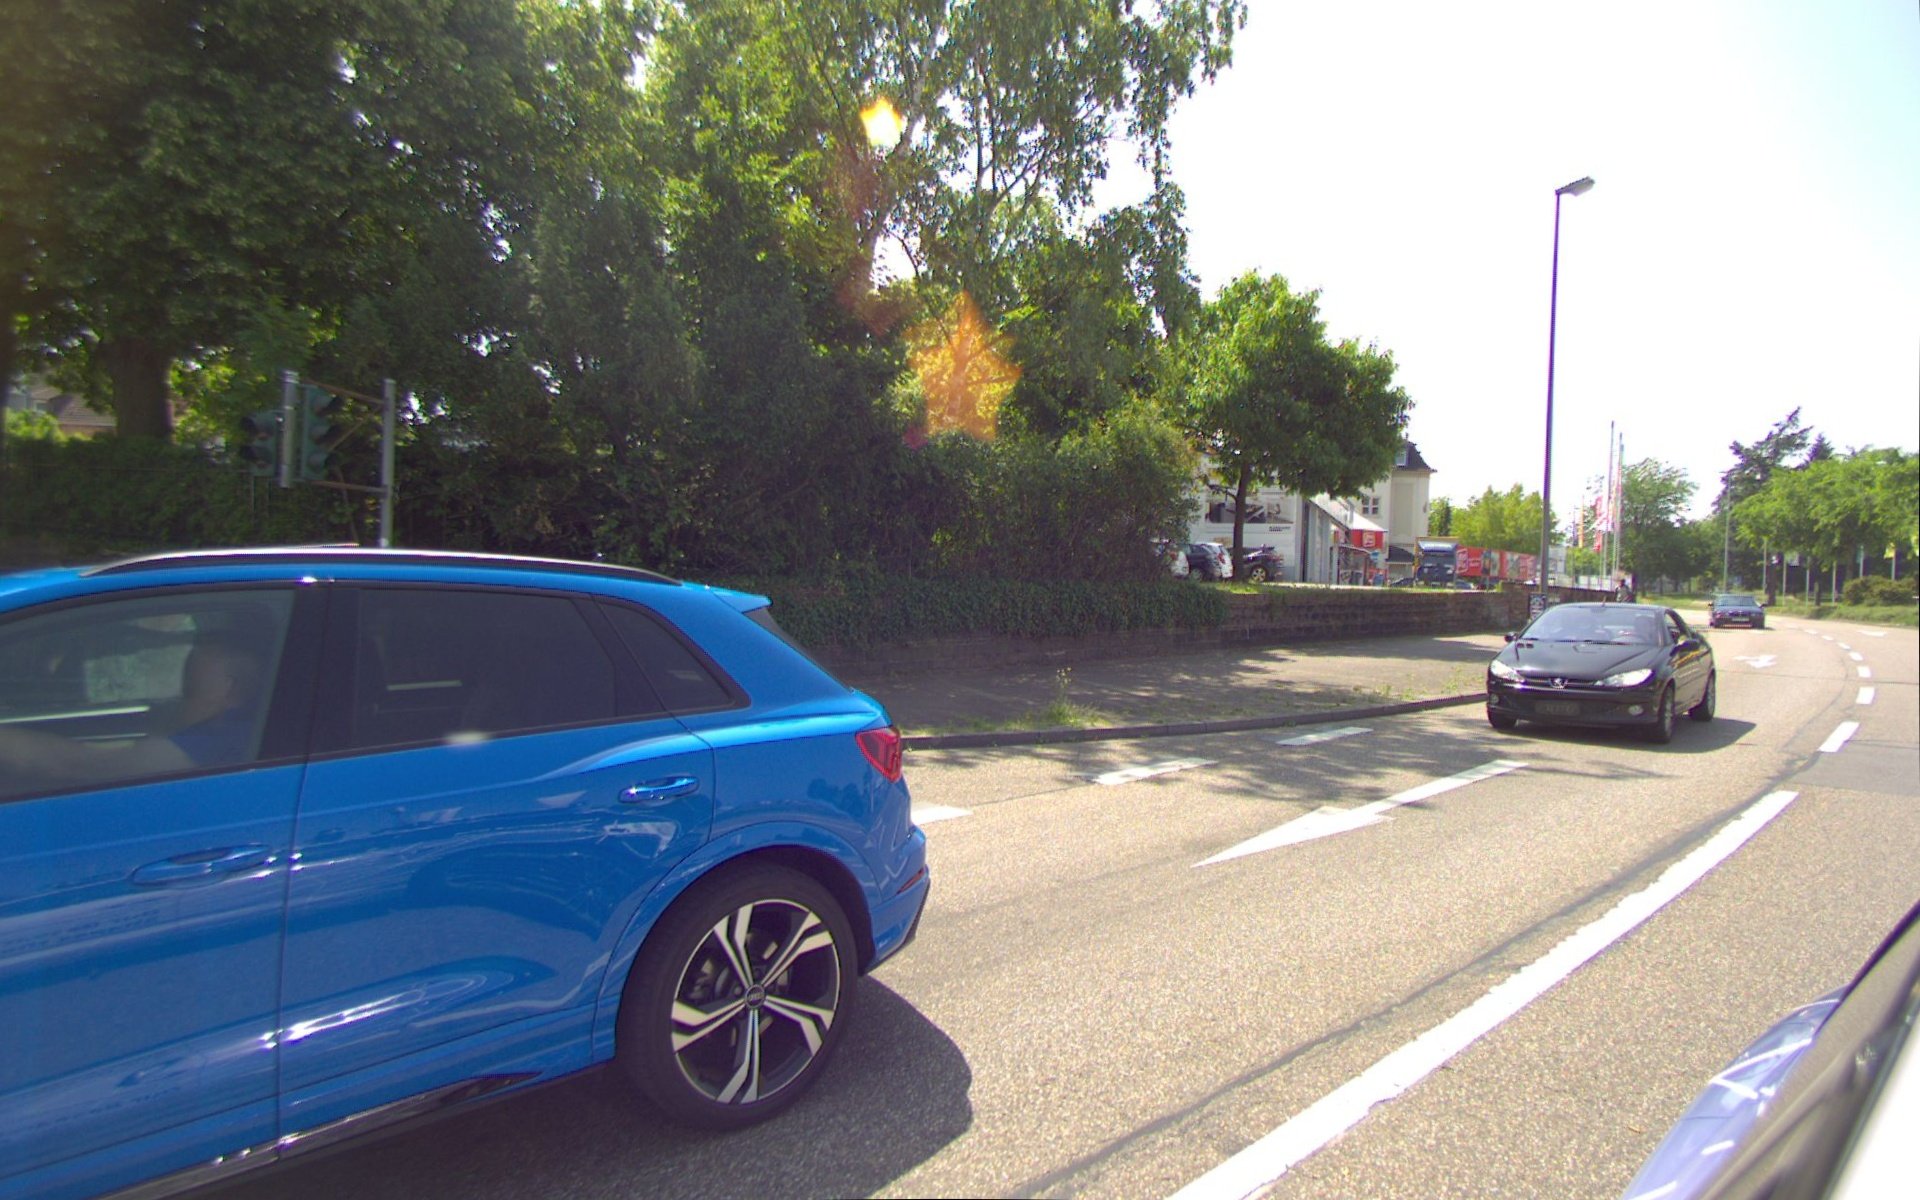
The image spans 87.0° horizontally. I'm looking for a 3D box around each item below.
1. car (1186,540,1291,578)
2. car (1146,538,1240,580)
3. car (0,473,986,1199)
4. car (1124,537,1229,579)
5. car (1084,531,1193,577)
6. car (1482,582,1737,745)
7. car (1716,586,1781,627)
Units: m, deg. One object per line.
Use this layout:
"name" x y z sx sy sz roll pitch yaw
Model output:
"car" 11.692 -1.715 42.499 3.963 1.559 1.722 1 1 28
"car" 8.709 -1.524 37.813 3.130 1.490 1.487 2 1 31
"car" -2.177 0.565 2.542 4.318 1.617 1.916 0 1 -41
"car" 7.602 -1.441 35.550 3.290 1.403 1.643 1 1 29
"car" 5.909 -1.498 33.467 3.260 1.429 1.515 1 1 29
"car" 7.314 0.556 11.268 3.601 1.442 1.601 -2 3 -44
"car" 31.688 0.212 40.776 1.687 1.390 3.954 2 4 33
